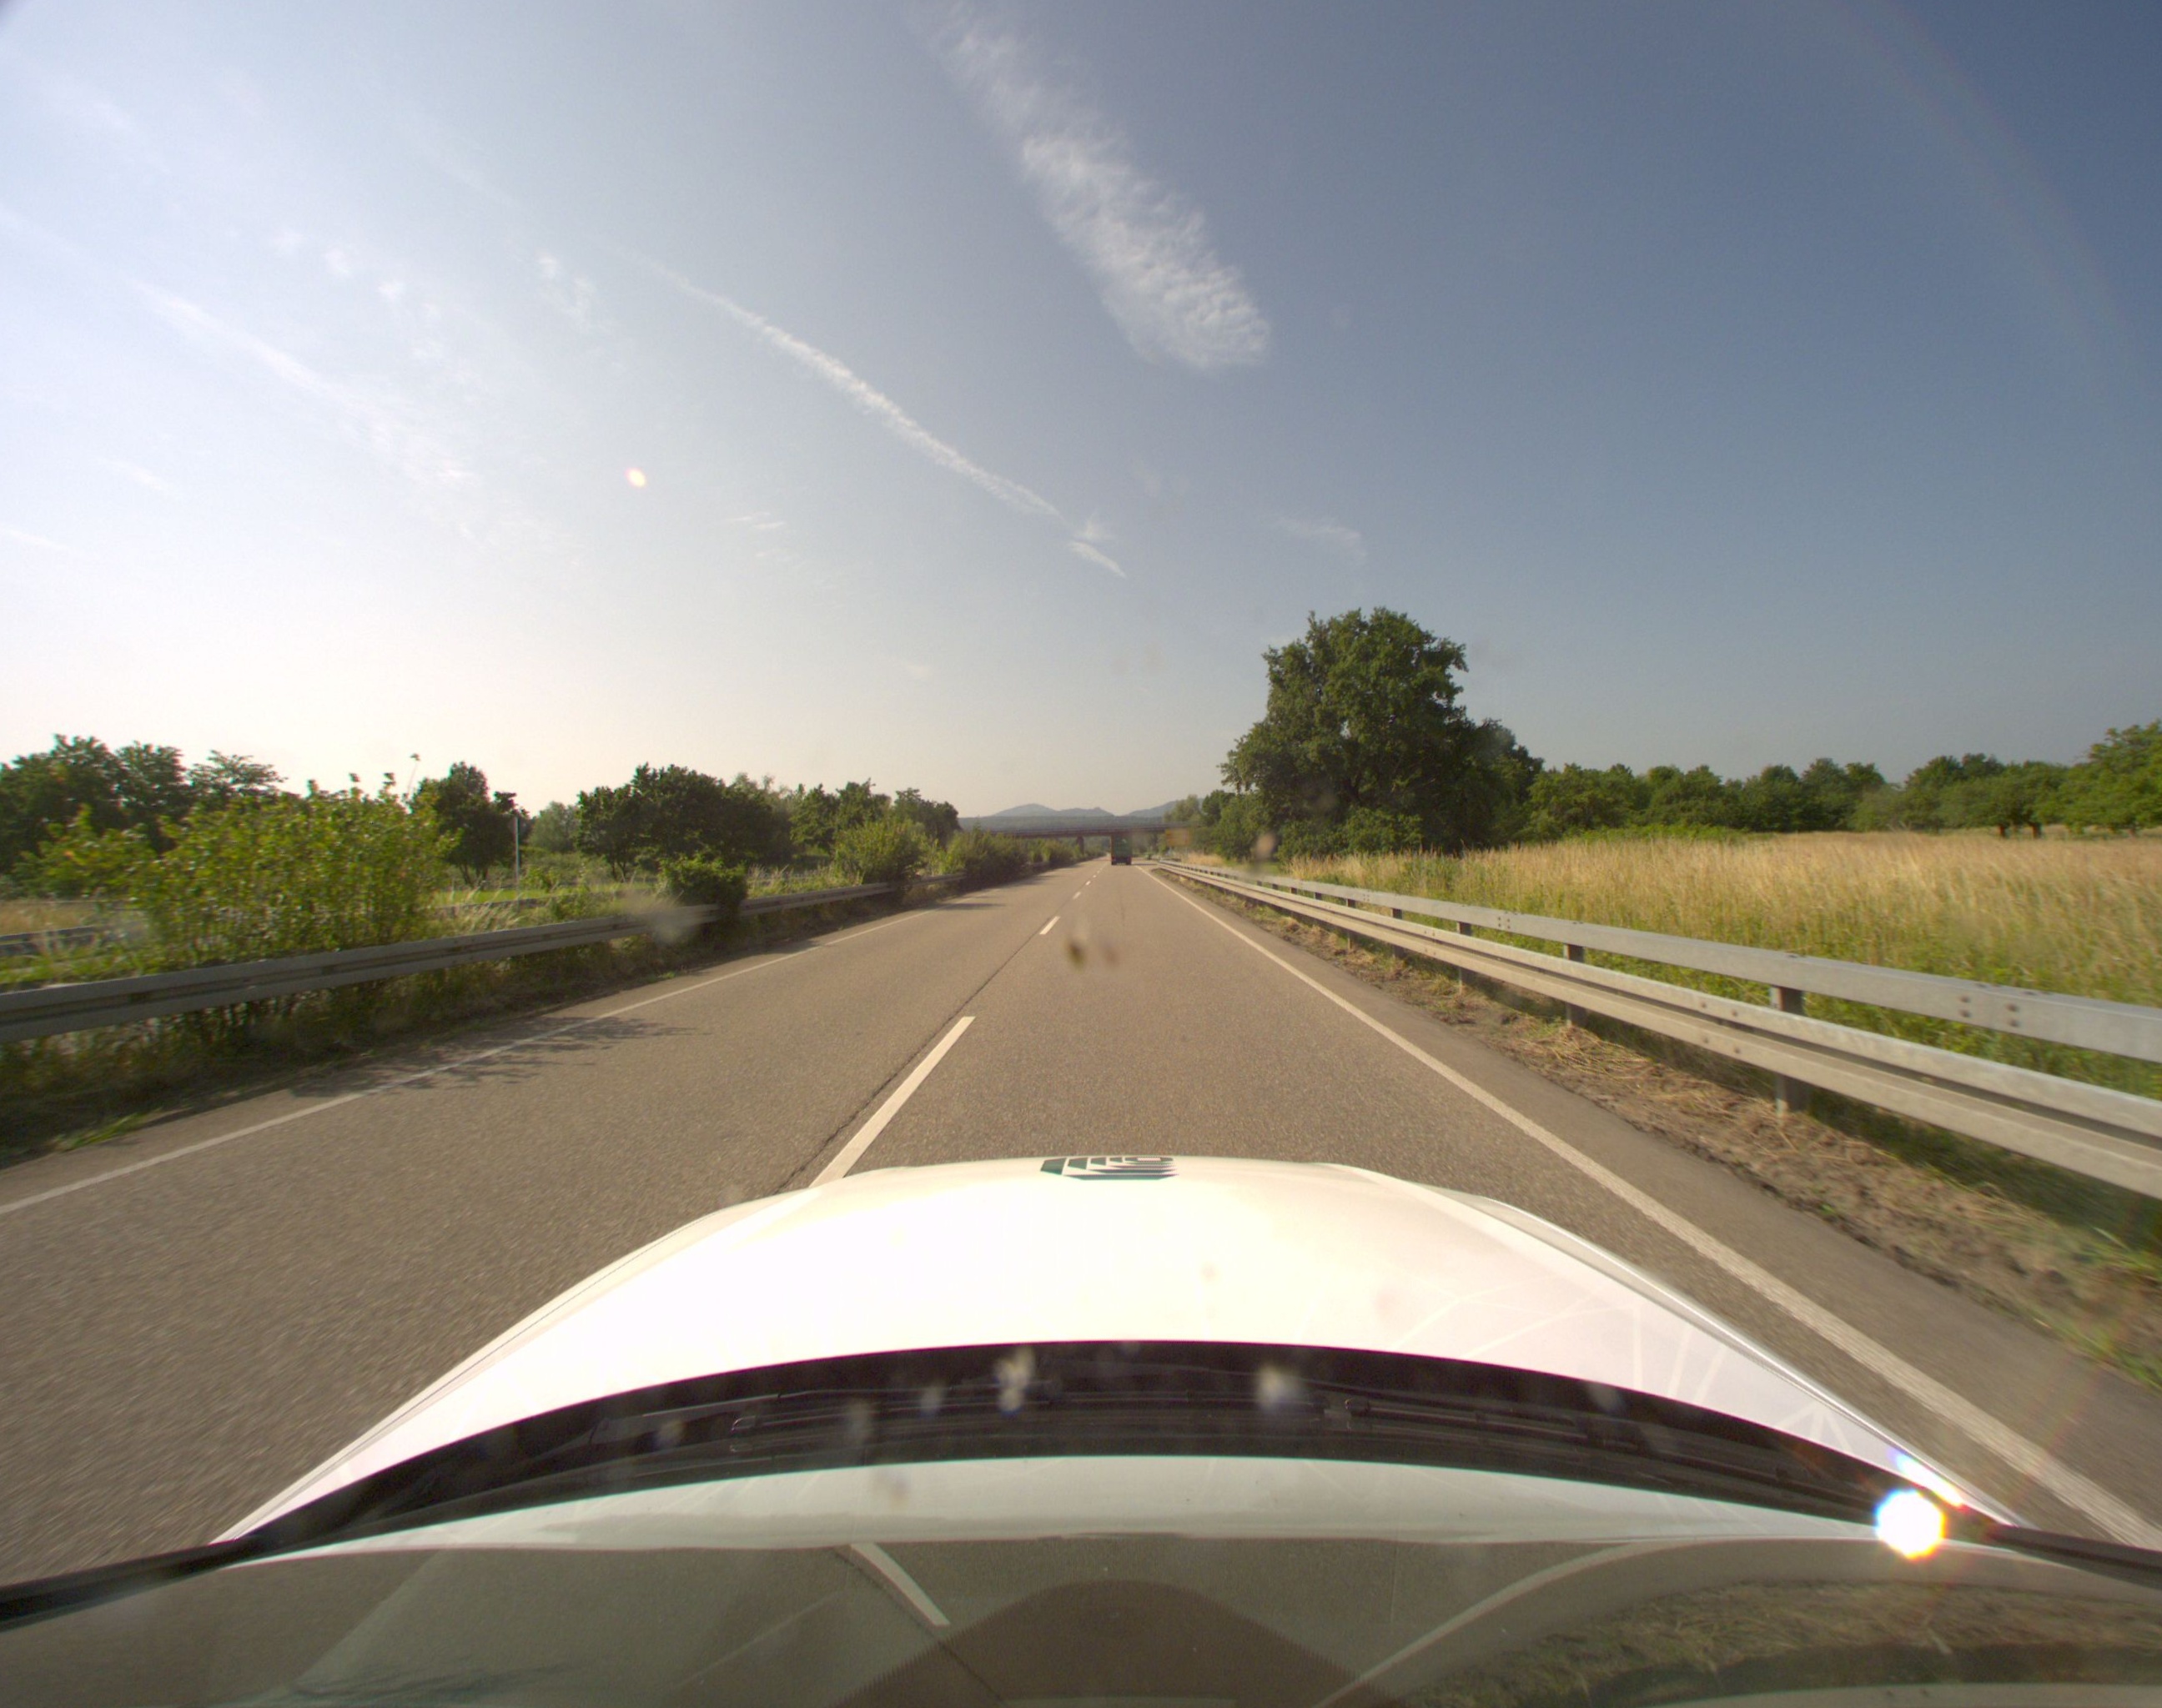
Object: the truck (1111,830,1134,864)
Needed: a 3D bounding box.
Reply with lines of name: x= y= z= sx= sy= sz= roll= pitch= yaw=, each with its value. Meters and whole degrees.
truck: x=5.165 y=-0.969 z=102.253 sx=2.711 sy=3.965 sz=10.425 roll=0 pitch=1 yaw=3
